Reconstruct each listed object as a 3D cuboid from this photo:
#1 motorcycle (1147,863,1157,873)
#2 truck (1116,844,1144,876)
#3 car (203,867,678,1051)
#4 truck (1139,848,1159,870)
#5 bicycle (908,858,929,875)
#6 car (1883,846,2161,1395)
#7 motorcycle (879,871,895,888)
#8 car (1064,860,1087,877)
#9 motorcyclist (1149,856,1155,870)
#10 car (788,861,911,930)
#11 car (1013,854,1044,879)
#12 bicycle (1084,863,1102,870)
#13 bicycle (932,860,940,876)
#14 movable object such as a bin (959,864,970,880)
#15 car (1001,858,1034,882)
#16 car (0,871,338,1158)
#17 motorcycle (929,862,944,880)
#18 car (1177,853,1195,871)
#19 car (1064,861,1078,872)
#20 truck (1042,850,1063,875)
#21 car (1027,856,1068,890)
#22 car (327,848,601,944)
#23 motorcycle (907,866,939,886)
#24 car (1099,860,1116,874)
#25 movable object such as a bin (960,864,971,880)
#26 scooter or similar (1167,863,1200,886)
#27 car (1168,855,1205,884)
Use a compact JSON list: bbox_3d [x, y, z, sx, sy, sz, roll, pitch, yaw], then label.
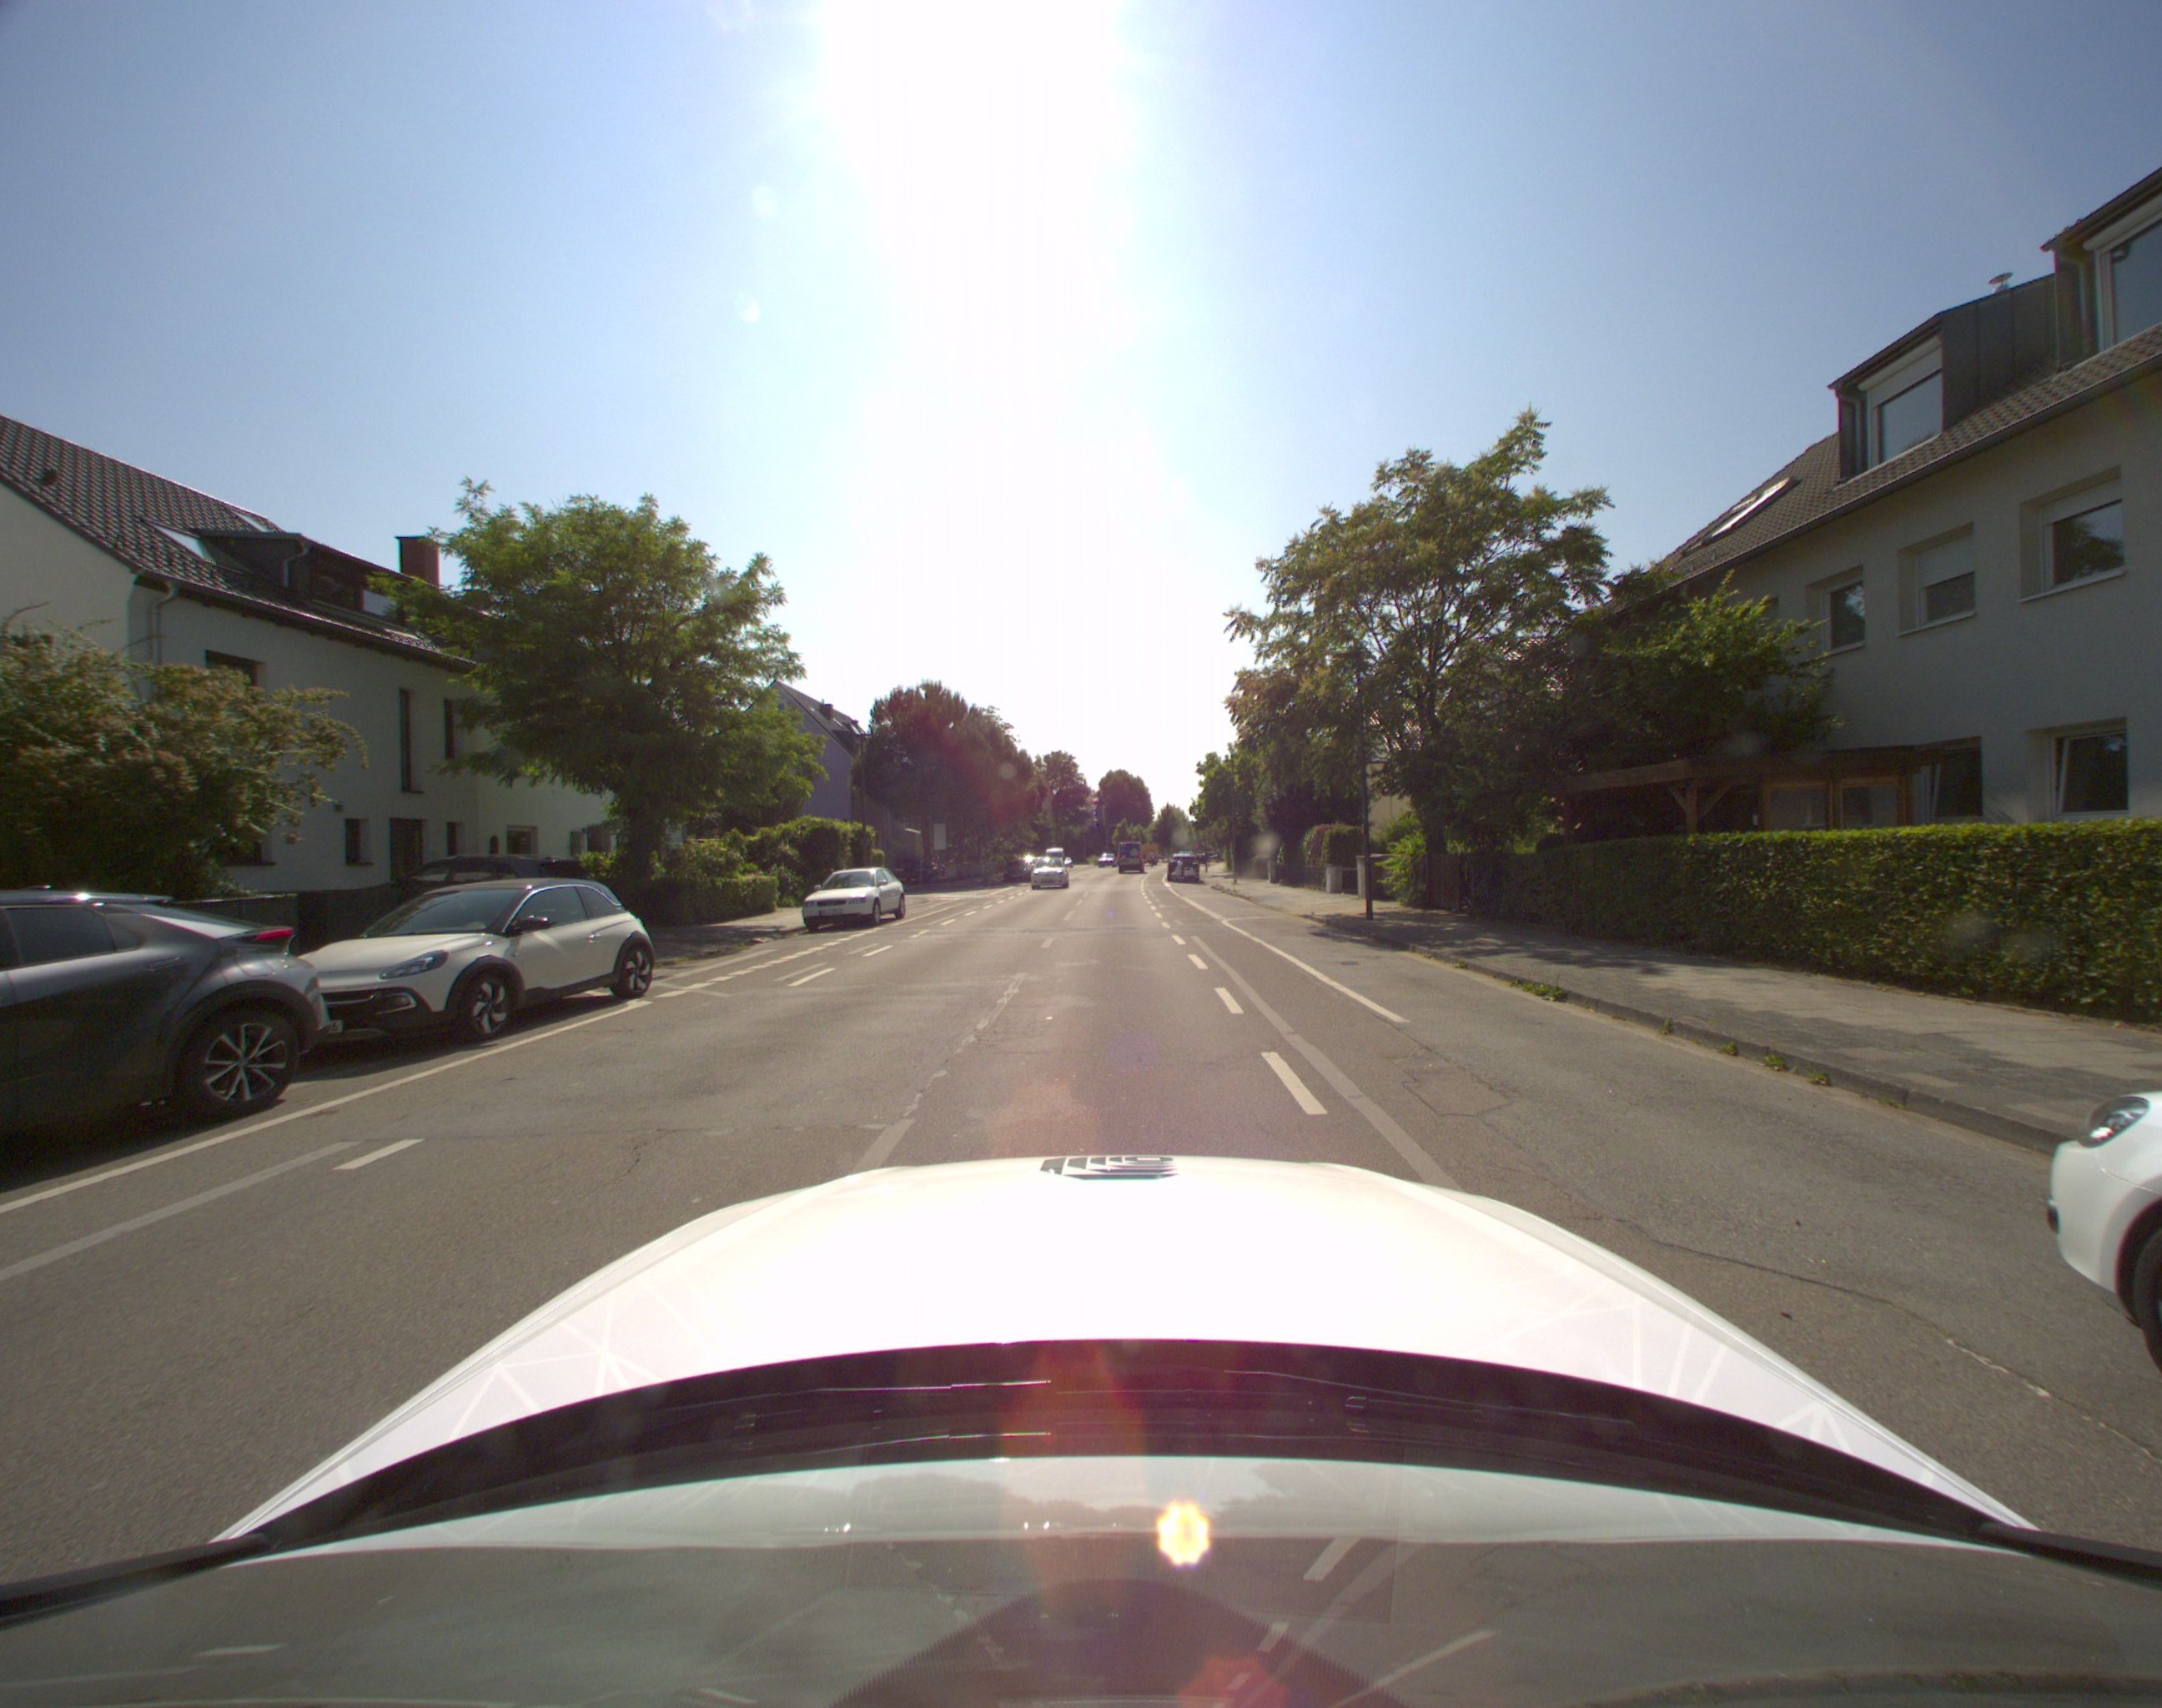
[{"bbox_3d":[8.188,1.638,94.080,1.052,1.122,2.994,-1,-1,3],"label":"motorcycle"},{"bbox_3d":[4.259,0.525,69.883,2.262,2.571,4.396,-1,-1,4],"label":"truck"},{"bbox_3d":[-6.317,0.909,8.755,1.778,1.440,4.003,-1,0,3],"label":"car"},{"bbox_3d":[9.274,0.675,111.745,2.207,2.946,5.683,-1,-1,-1],"label":"truck"},{"bbox_3d":[-12.091,0.939,60.595,1.453,1.181,0.532,-3,2,-36],"label":"bicycle"},{"bbox_3d":[3.600,0.690,0.784,1.734,1.402,4.075,1,0,1],"label":"car"},{"bbox_3d":[-11.971,1.541,50.237,0.643,0.991,2.339,-1,-1,-21],"label":"motorcycle"},{"bbox_3d":[-0.493,1.378,77.771,1.825,1.496,3.660,-1,0,6],"label":"car"},{"bbox_3d":[8.166,1.022,93.982,0.669,1.519,0.652,-1,-1,2],"label":"motorcyclist"},{"bbox_3d":[-5.773,0.981,20.858,1.778,1.440,4.002,-4,0,2],"label":"car"},{"bbox_3d":[-3.906,0.901,61.049,1.902,1.677,4.259,-3,0,0],"label":"car"},{"bbox_3d":[1.913,1.959,126.792,2.684,1.047,1.024,-1,-1,-6],"label":"bicycle"},{"bbox_3d":[-10.998,1.078,61.759,0.536,1.182,1.442,-1,-1,-9],"label":"bicycle"},{"bbox_3d":[-8.274,1.280,57.848,0.540,1.111,0.586,-1,-1,8],"label":"movable object such as a bin"},{"bbox_3d":[-4.250,1.051,55.139,1.774,1.460,4.087,-2,0,1],"label":"car"},{"bbox_3d":[-6.434,0.862,3.927,1.778,1.440,4.113,-2,-1,3],"label":"car"},{"bbox_3d":[-9.980,1.173,56.287,0.534,1.182,1.449,-1,-1,8],"label":"motorcycle"},{"bbox_3d":[10.649,0.803,82.822,1.692,1.677,3.780,-1,0,5],"label":"car"},{"bbox_3d":[-1.307,1.680,110.808,1.748,1.343,3.654,-1,0,1],"label":"car"},{"bbox_3d":[-3.041,0.921,89.119,2.074,2.537,5.465,-1,0,0],"label":"truck"},{"bbox_3d":[-1.609,0.925,40.528,1.726,1.541,4.000,-3,-1,1],"label":"car"},{"bbox_3d":[-12.251,0.795,16.363,3.971,1.759,2.001,-1,0,2],"label":"car"},{"bbox_3d":[-9.823,1.380,50.709,1.829,1.182,0.644,-1,-1,7],"label":"motorcycle"},{"bbox_3d":[3.309,1.571,102.117,1.985,1.657,4.608,-1,0,3],"label":"car"},{"bbox_3d":[-8.265,1.265,58.115,0.602,1.111,0.664,-1,-1,8],"label":"movable object such as a bin"},{"bbox_3d":[5.732,1.146,45.683,0.724,1.154,1.775,3,-1,-43],"label":"scooter or similar"},{"bbox_3d":[6.343,0.877,48.518,1.772,1.638,4.486,1,0,13],"label":"car"}]
